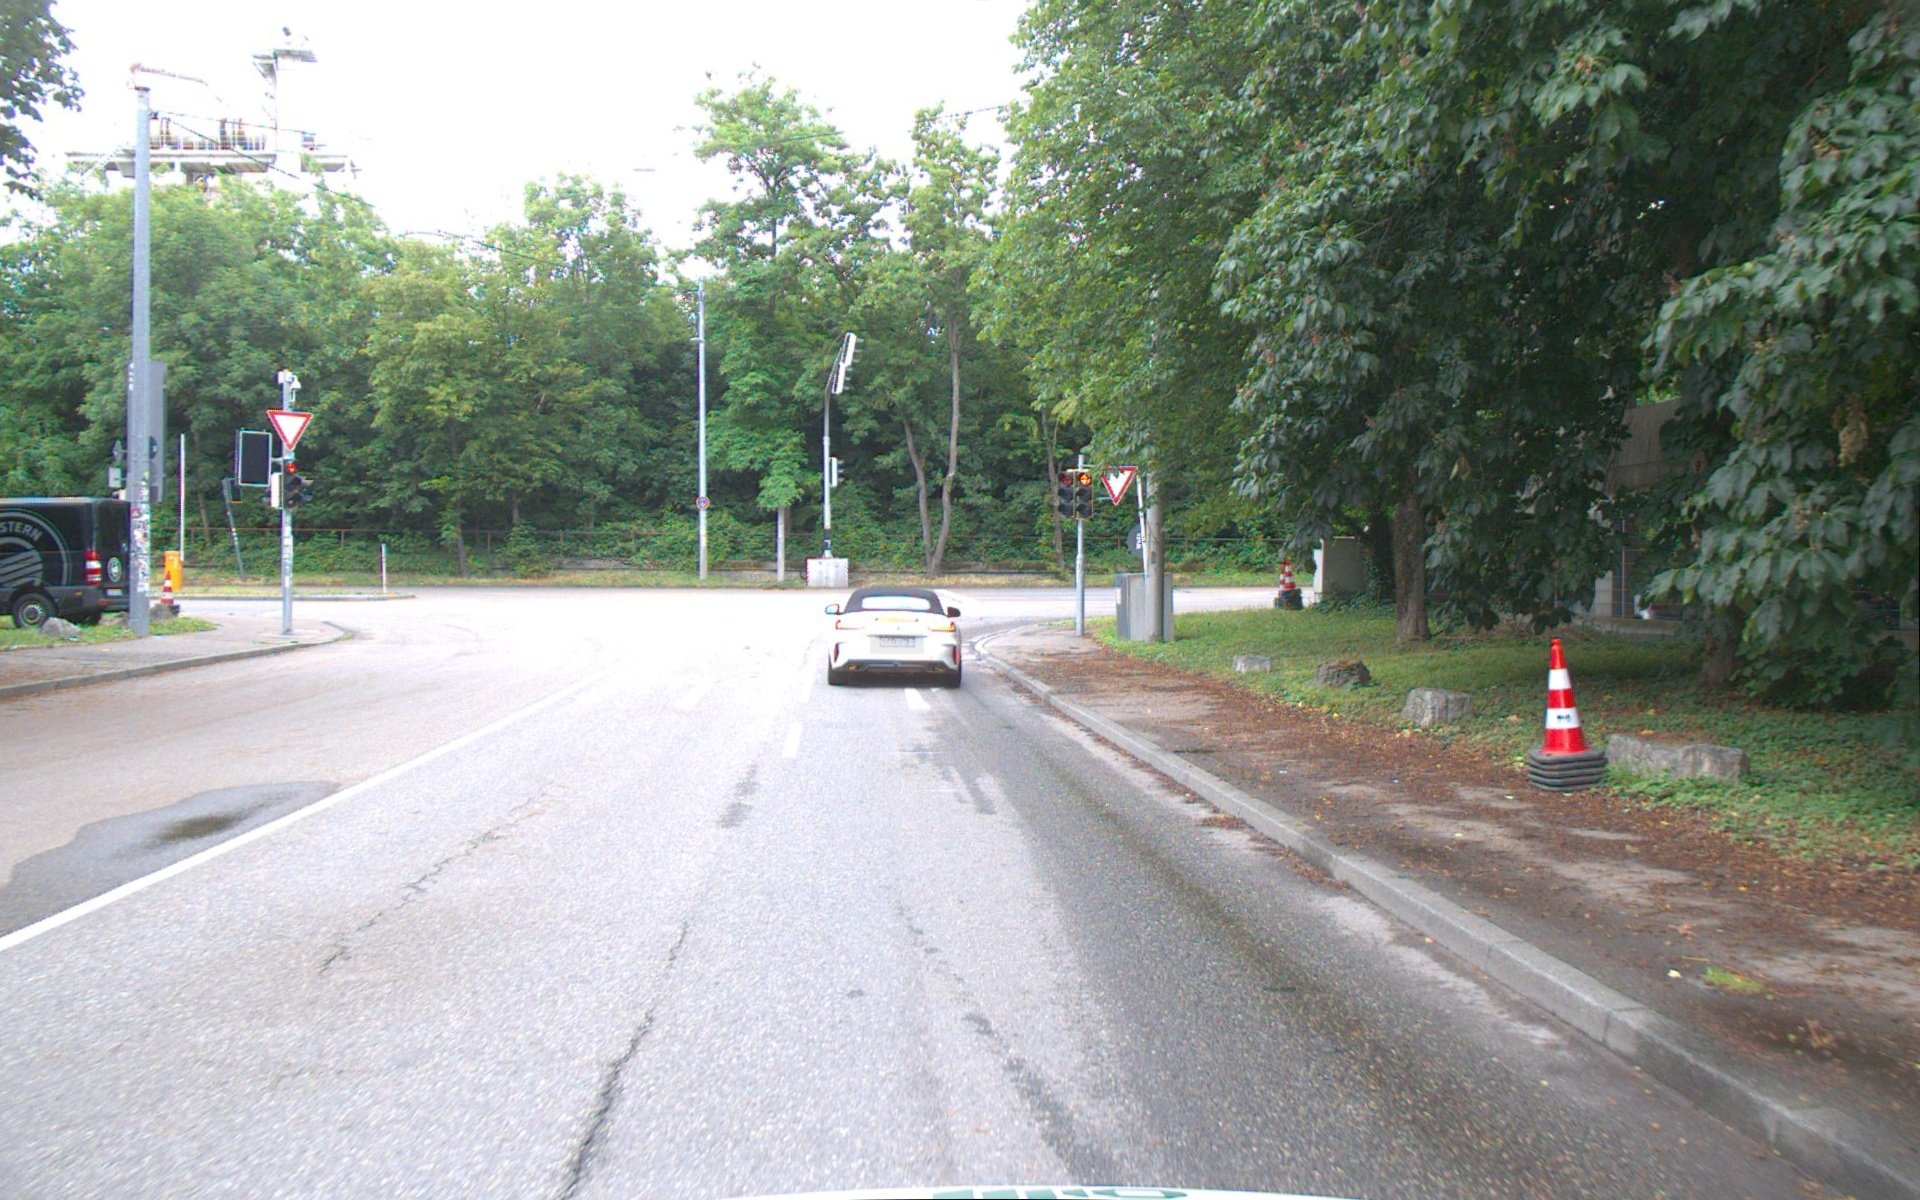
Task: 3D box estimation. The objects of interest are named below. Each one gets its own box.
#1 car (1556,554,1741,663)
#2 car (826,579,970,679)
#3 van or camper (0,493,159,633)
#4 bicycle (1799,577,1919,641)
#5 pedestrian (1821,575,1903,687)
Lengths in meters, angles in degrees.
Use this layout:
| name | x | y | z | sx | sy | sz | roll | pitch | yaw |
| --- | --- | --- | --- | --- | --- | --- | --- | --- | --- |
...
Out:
| name | x | y | z | sx | sy | sz | roll | pitch | yaw |
| --- | --- | --- | --- | --- | --- | --- | --- | --- | --- |
| car | 11.825 | 0.160 | 28.641 | 1.451 | 1.738 | 3.716 | 1 | -1 | -4 |
| car | -0.969 | 0.398 | 23.737 | 1.792 | 1.279 | 3.995 | 1 | -1 | -6 |
| van or camper | -17.580 | -0.585 | 29.589 | 5.425 | 2.354 | 2.060 | -2 | -1 | -3 |
| bicycle | 10.962 | 0.115 | 20.215 | 0.439 | 0.749 | 1.492 | 1 | -1 | -12 |
| pedestrian | 11.028 | 0.376 | 20.226 | 0.628 | 1.340 | 0.636 | 1 | -1 | -5 |
